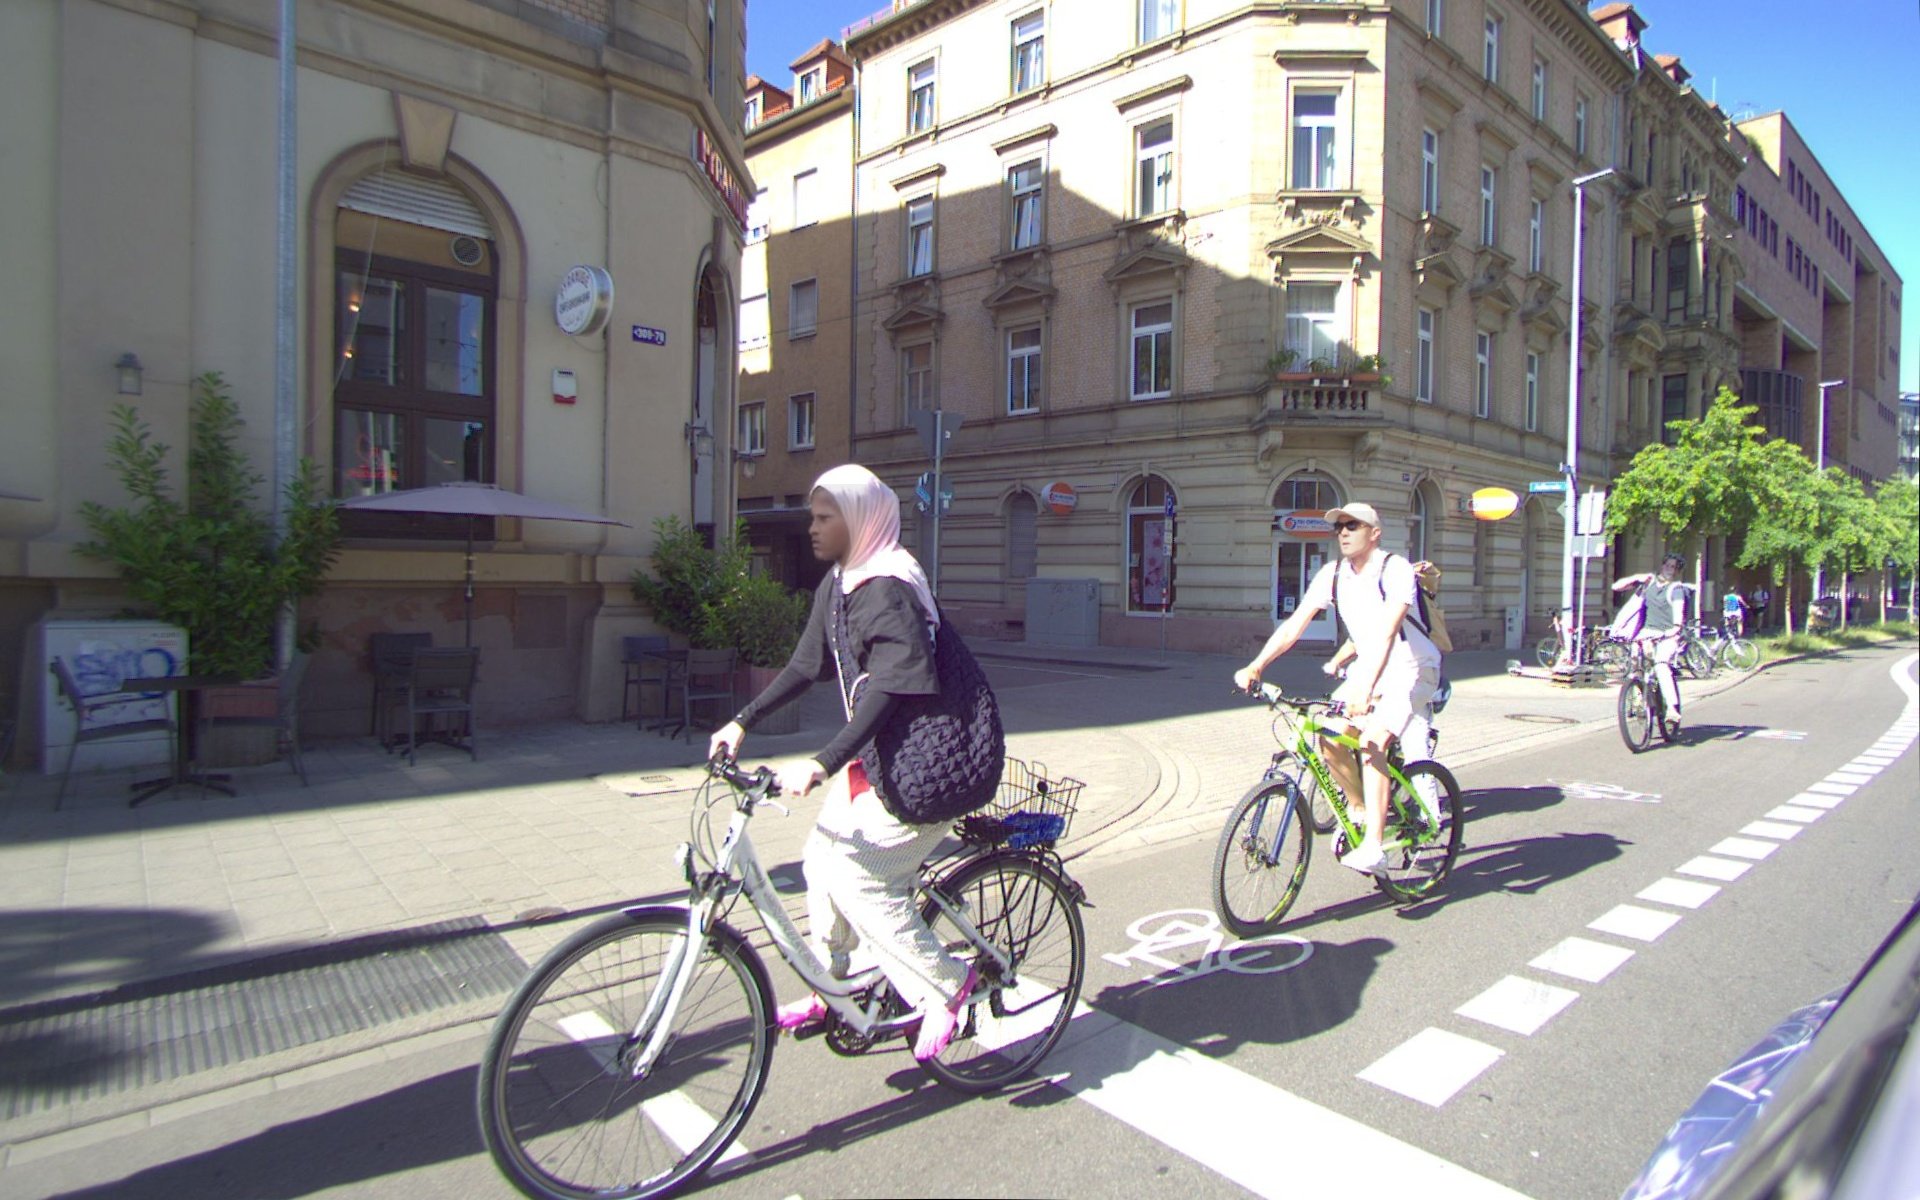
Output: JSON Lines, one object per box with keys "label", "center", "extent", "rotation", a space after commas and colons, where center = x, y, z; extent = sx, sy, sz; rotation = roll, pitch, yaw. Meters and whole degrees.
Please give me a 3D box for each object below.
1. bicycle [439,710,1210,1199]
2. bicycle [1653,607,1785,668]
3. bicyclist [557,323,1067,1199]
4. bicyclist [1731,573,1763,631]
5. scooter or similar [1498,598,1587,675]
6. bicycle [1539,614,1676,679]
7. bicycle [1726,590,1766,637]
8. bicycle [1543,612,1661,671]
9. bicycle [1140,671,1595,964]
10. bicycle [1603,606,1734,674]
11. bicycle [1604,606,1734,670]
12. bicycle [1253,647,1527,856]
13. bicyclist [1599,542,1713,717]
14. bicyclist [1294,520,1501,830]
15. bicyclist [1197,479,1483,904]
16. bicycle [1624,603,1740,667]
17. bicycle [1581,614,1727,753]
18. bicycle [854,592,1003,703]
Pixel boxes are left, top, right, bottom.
{"label": "bicycle", "center": [-0.265, 0.900, 2.685], "extent": [1.915, 1.019, 0.725], "rotation": [0, 0, -35]}
{"label": "bicycle", "center": [16.034, 0.756, 21.432], "extent": [0.833, 1.054, 2.062], "rotation": [-1, 5, -41]}
{"label": "bicyclist", "center": [-0.373, 0.380, 2.566], "extent": [1.070, 1.840, 0.725], "rotation": [0, 0, -36]}
{"label": "bicyclist", "center": [22.519, 0.047, 28.966], "extent": [0.781, 1.637, 0.578], "rotation": [-1, 2, -43]}
{"label": "scooter or similar", "center": [9.766, 0.592, 16.991], "extent": [0.479, 1.212, 1.197], "rotation": [0, 1, -44]}
{"label": "bicycle", "center": [11.208, 0.780, 17.592], "extent": [0.580, 0.922, 1.911], "rotation": [-1, 4, -31]}
{"label": "bicycle", "center": [22.548, 0.363, 29.011], "extent": [2.062, 1.268, 0.578], "rotation": [-1, 2, -43]}
{"label": "bicycle", "center": [11.512, 0.728, 18.195], "extent": [0.488, 0.937, 1.717], "rotation": [-1, 2, -40]}
{"label": "bicycle", "center": [1.833, 0.879, 4.557], "extent": [1.911, 1.019, 0.727], "rotation": [0, 0, -21]}
{"label": "bicycle", "center": [13.087, 0.718, 18.738], "extent": [0.598, 1.061, 1.873], "rotation": [-1, 4, -45]}
{"label": "bicycle", "center": [13.980, 0.716, 19.983], "extent": [1.013, 1.043, 1.901], "rotation": [-1, 4, -43]}
{"label": "bicycle", "center": [2.746, 0.854, 6.363], "extent": [1.918, 1.019, 0.829], "rotation": [0, 0, -41]}
{"label": "bicyclist", "center": [6.862, 0.270, 9.979], "extent": [0.879, 1.625, 0.724], "rotation": [0, 0, -41]}
{"label": "bicyclist", "center": [2.752, 0.421, 6.370], "extent": [0.971, 1.748, 0.853], "rotation": [0, 0, -41]}
{"label": "bicyclist", "center": [1.663, 0.357, 4.491], "extent": [0.957, 1.677, 0.702], "rotation": [0, 0, -20]}
{"label": "bicycle", "center": [14.795, 0.682, 20.763], "extent": [1.115, 1.074, 1.677], "rotation": [-1, 6, -42]}
{"label": "bicycle", "center": [6.864, 0.765, 9.975], "extent": [1.918, 1.209, 0.724], "rotation": [0, 0, -41]}
{"label": "bicycle", "center": [-0.456, 0.571, 12.990], "extent": [0.801, 1.247, 2.221], "rotation": [4, -1, -34]}
